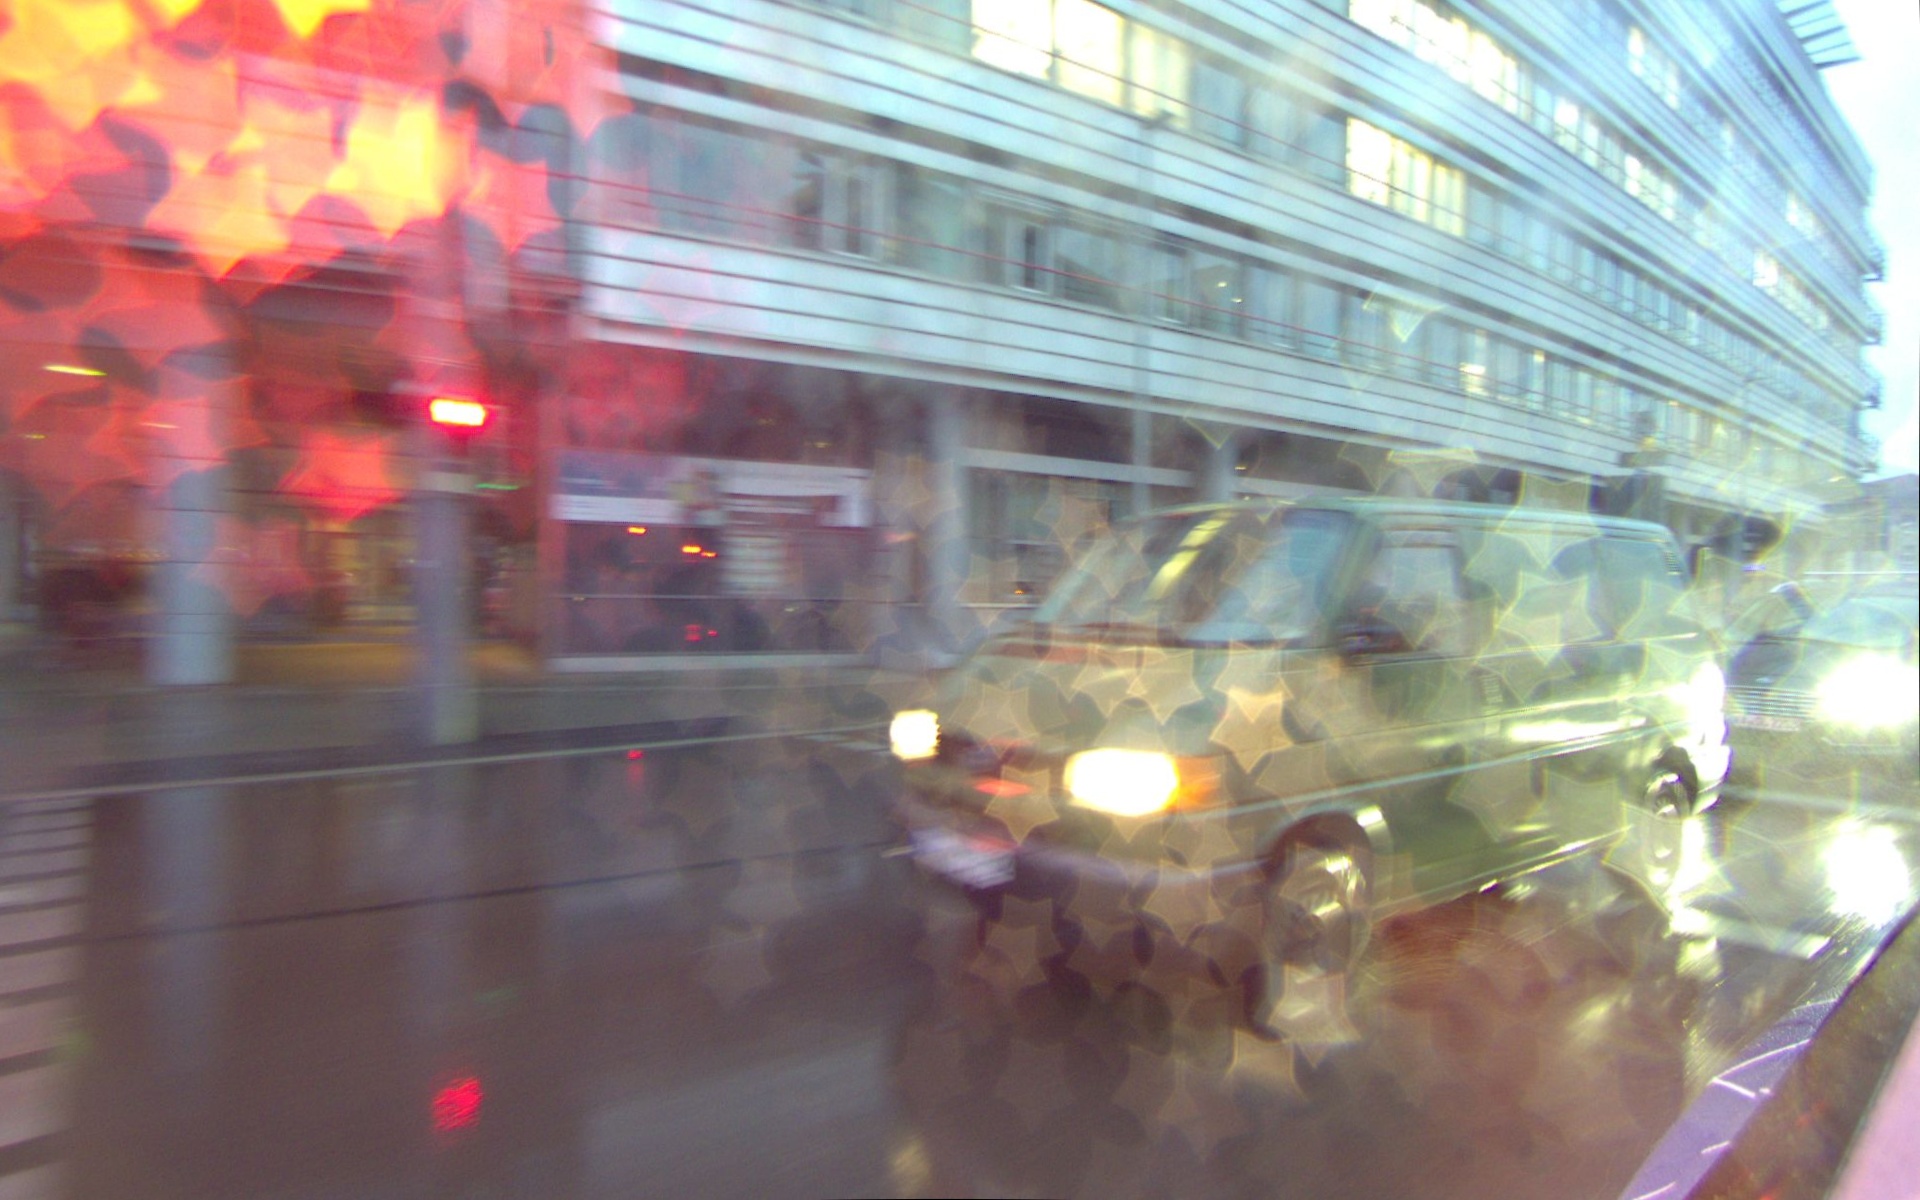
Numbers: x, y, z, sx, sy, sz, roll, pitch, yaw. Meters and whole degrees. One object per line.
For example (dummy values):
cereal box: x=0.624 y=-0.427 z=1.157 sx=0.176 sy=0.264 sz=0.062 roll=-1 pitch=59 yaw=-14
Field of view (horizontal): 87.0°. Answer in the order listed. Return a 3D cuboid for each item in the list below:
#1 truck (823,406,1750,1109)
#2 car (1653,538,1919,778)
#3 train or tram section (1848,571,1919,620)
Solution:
truck: x=1.801 y=0.435 z=4.884 sx=4.528 sy=1.941 sz=1.911 roll=0 pitch=0 yaw=-35
car: x=8.819 y=0.450 z=9.807 sx=4.598 sy=1.842 sz=1.911 roll=0 pitch=0 yaw=-34
train or tram section: x=98.182 y=-0.475 z=101.639 sx=3.660 sy=4.921 sz=13.413 roll=0 pitch=0 yaw=-18
